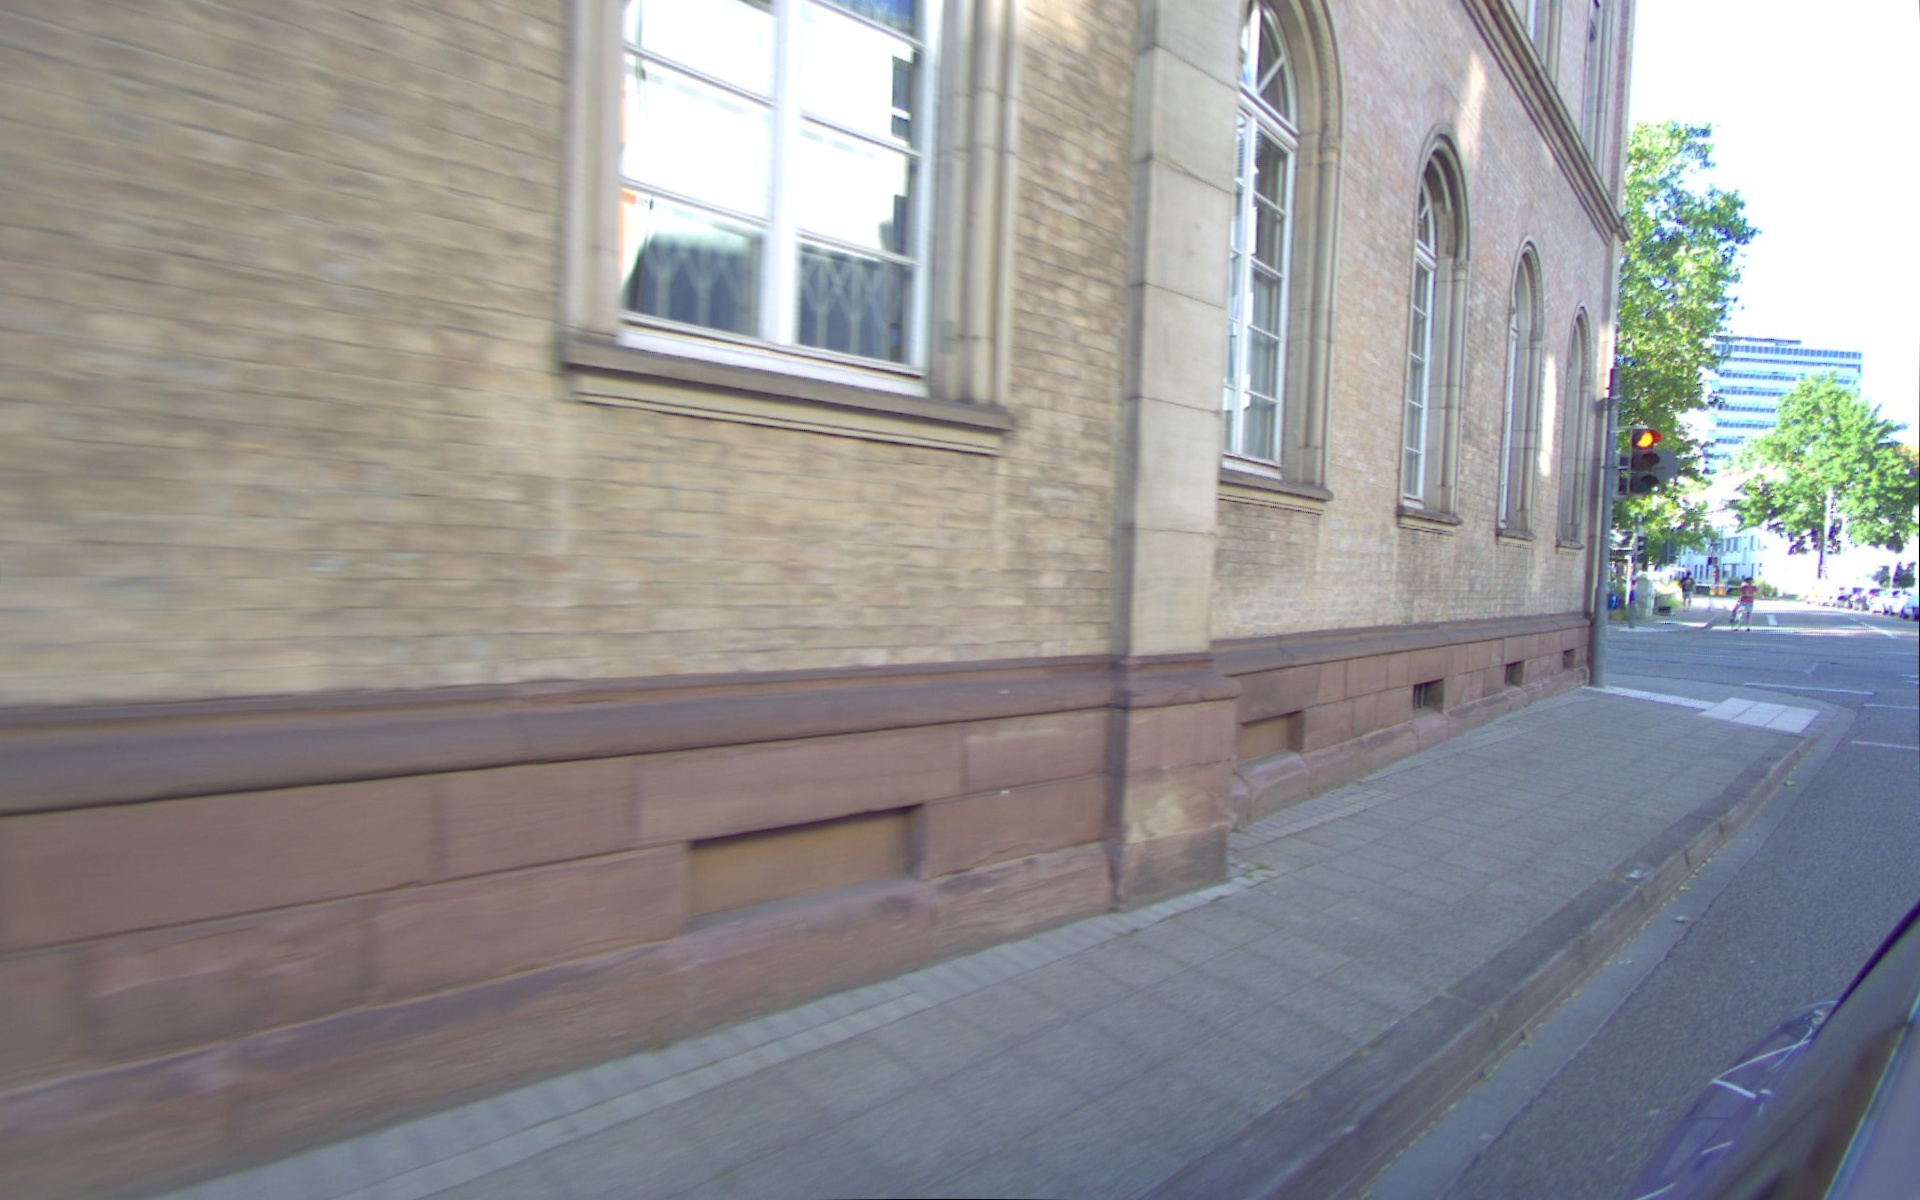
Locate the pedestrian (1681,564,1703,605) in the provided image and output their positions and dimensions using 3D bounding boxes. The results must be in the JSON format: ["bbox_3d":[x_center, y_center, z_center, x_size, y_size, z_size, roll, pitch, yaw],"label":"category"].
[{"bbox_3d":[34.480,-0.735,47.691,0.662,1.877,1.015,3,2,29],"label":"pedestrian"}]

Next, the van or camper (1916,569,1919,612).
[{"bbox_3d":[45.781,-0.395,46.540,2.153,2.038,4.908,4,3,39],"label":"van or camper"}]

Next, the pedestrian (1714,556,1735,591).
[{"bbox_3d":[74.066,-2.584,98.059,1.452,3.349,1.387,3,2,38],"label":"pedestrian"}]

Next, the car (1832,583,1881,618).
[{"bbox_3d":[56.744,0.012,64.109,1.990,2.038,3.946,3,3,38],"label":"car"}]

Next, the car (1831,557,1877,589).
[{"bbox_3d":[60.575,-1.843,68.636,1.990,2.038,3.946,3,3,38],"label":"car"}]

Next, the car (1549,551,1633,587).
[{"bbox_3d":[41.225,-2.050,66.154,4.538,2.139,1.975,3,3,35],"label":"car"}]

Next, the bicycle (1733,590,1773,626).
[{"bbox_3d":[25.754,0.226,32.883,0.938,1.051,2.965,3,3,38],"label":"bicycle"}]

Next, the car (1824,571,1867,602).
[{"bbox_3d":[63.158,-0.935,72.218,1.990,2.038,3.945,3,1,38],"label":"car"}]

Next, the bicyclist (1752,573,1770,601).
[{"bbox_3d":[47.869,-0.784,60.497,0.757,1.612,0.890,3,2,36],"label":"bicyclist"}]

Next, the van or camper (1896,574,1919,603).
[{"bbox_3d":[71.112,-0.771,73.075,4.692,2.112,1.980,3,2,30],"label":"van or camper"}]

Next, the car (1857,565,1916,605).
[{"bbox_3d":[50.771,-0.838,55.530,1.990,2.038,3.946,3,3,38],"label":"car"}]

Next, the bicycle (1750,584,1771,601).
[{"bbox_3d":[47.818,-0.483,60.477,0.757,0.961,3.019,3,3,35],"label":"bicycle"}]

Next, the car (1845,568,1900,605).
[{"bbox_3d":[53.425,-0.813,59.335,1.990,2.038,3.946,3,3,38],"label":"car"}]

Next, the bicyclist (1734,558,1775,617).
[{"bbox_3d":[25.686,-0.412,32.722,0.973,1.830,1.116,3,2,39],"label":"bicyclist"}]
